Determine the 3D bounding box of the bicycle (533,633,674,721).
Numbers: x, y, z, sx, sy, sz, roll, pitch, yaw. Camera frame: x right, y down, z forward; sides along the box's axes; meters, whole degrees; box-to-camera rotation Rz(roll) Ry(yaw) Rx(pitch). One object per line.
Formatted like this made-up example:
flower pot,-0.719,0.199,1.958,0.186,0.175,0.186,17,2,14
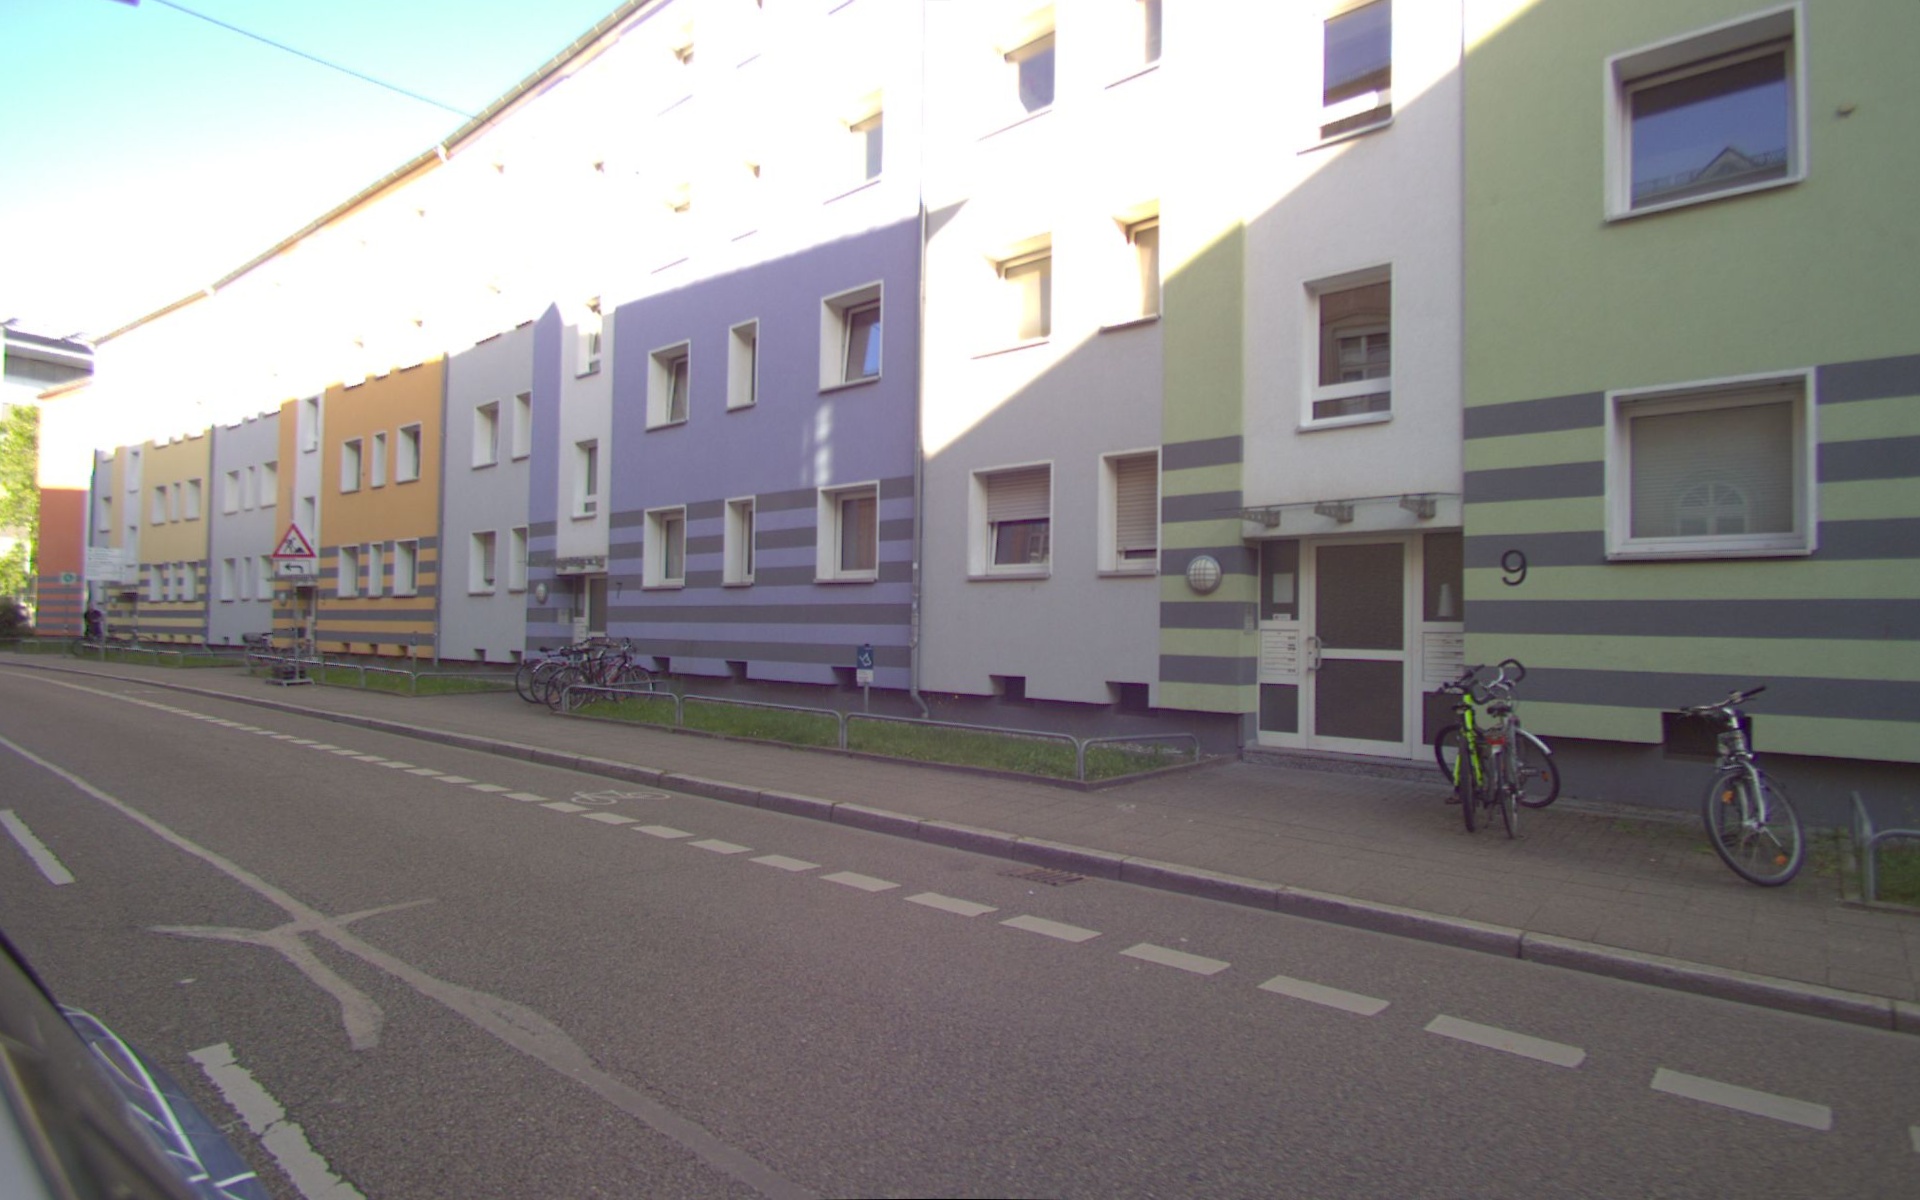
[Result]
bicycle,-5.395,1.139,15.433,0.622,1.241,1.989,-1,-2,37

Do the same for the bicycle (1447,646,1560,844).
bicycle,4.064,1.001,7.666,0.610,1.188,1.919,0,1,24

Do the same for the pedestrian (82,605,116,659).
pedestrian,-30.669,1.143,36.068,0.709,1.869,0.872,2,-2,-31

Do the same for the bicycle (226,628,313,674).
bicycle,-18.025,1.333,26.457,0.648,1.154,1.739,0,-2,30

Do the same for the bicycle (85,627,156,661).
bicycle,-29.165,1.517,35.182,0.648,1.154,1.739,0,-2,30

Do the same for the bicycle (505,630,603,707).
bicycle,-6.926,1.151,17.337,0.383,1.251,1.565,-1,-2,37

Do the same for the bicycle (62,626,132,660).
bicycle,-30.456,1.525,35.751,0.648,1.154,1.739,0,-2,30

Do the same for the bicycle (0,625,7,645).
bicycle,-59.957,2.148,62.397,1.965,1.191,0.470,1,-1,0

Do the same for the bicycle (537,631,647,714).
bicycle,-5.812,1.122,16.060,0.466,1.251,1.623,-1,-2,37

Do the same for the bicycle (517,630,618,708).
bicycle,-6.600,1.142,17.077,0.448,1.251,1.569,-1,-2,37

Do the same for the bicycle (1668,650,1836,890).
bicycle,5.011,0.979,6.508,0.611,1.188,1.915,0,1,31
